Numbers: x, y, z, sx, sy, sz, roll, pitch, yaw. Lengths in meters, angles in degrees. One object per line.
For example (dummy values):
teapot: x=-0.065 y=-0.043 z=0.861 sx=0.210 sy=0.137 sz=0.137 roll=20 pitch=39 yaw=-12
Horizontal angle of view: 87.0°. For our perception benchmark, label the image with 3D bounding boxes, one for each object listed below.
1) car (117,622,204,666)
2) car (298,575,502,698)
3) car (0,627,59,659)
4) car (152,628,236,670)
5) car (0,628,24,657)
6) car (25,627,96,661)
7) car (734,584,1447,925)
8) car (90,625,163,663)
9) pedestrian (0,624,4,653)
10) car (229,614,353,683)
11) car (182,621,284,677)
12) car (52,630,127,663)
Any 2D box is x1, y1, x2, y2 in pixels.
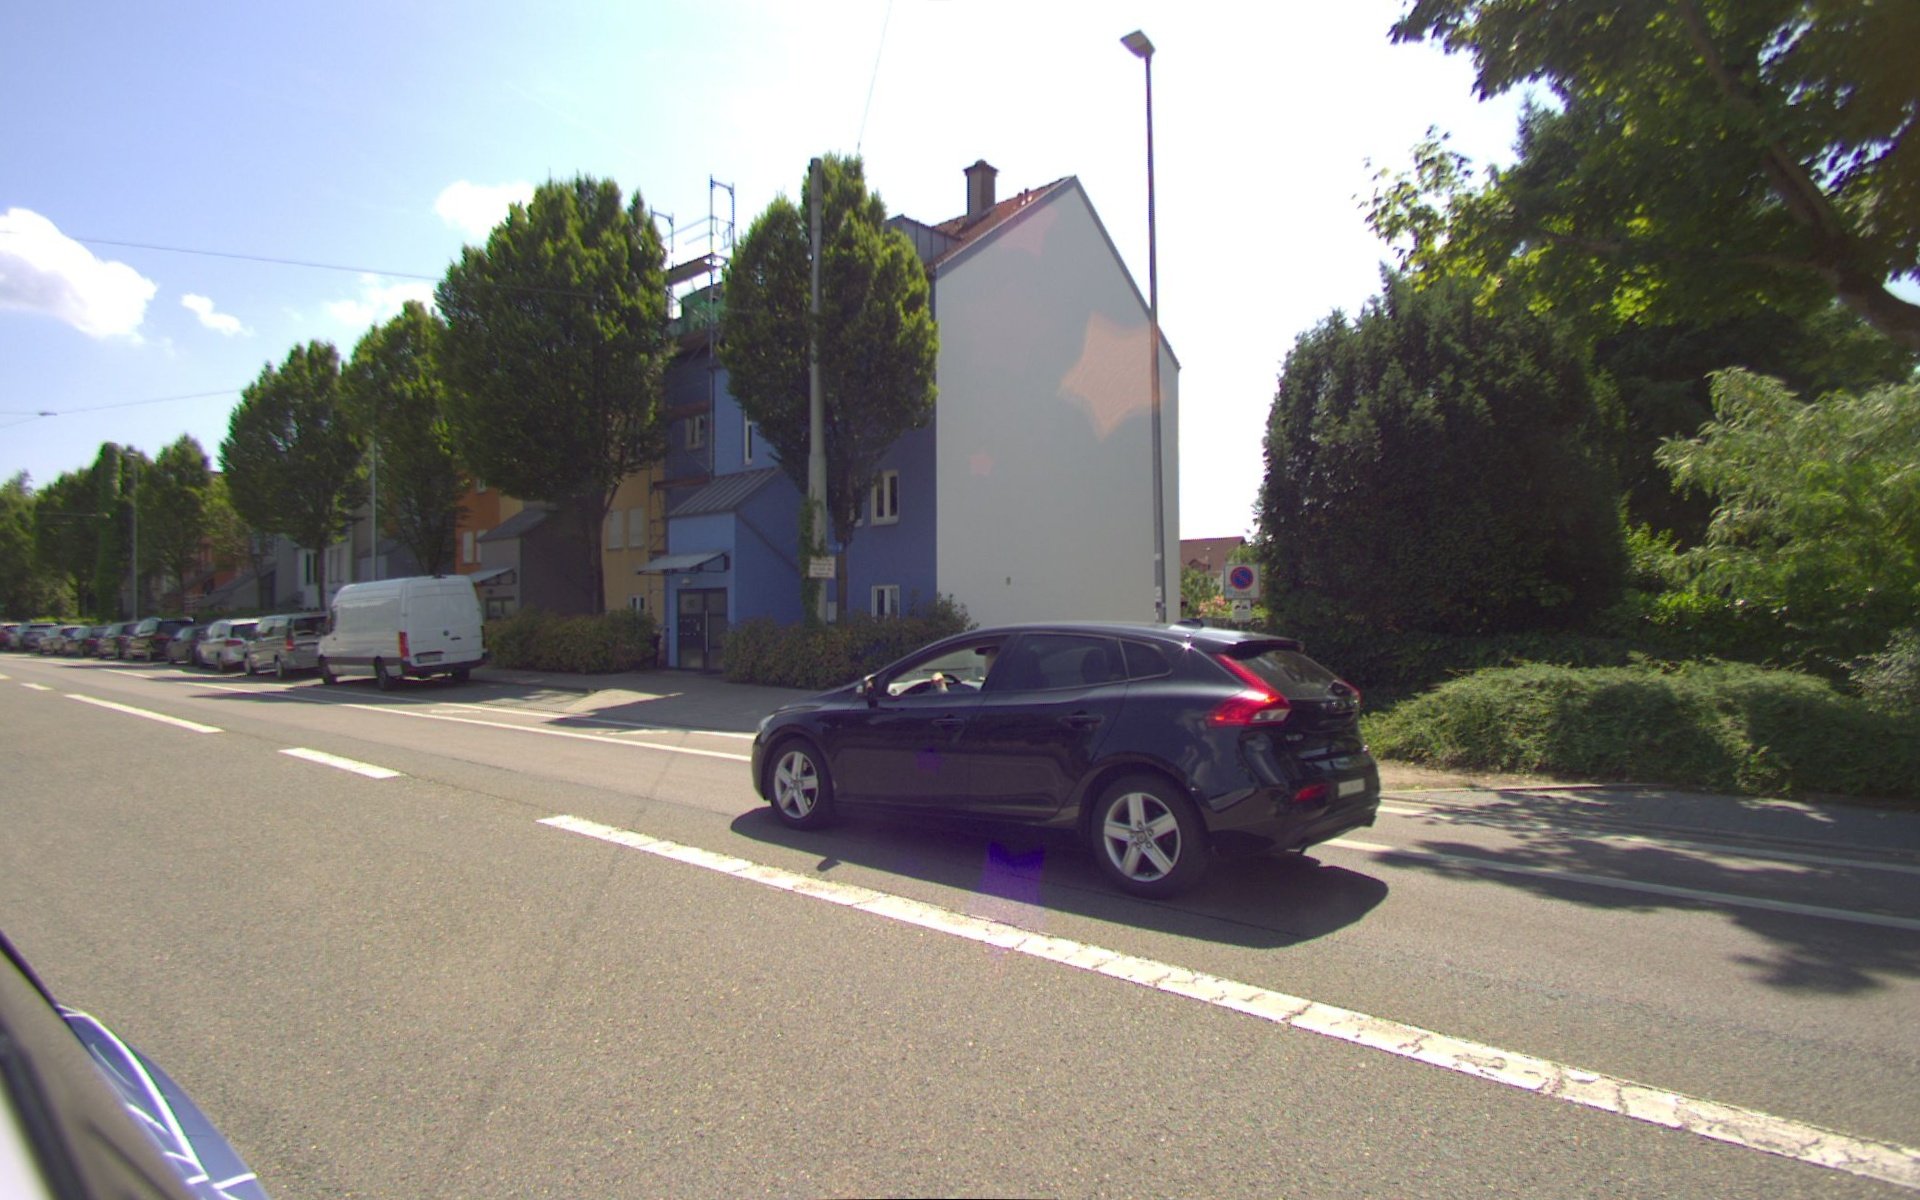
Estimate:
car: x=-32.986 y=1.788 z=41.700 sx=4.881 sy=1.729 sz=1.734 roll=-2 pitch=-2 yaw=38
car: x=-14.581 y=0.886 z=26.084 sx=7.033 sy=2.670 sz=2.299 roll=-2 pitch=2 yaw=42
car: x=-51.336 y=2.352 z=55.655 sx=4.677 sy=1.621 sz=1.641 roll=-2 pitch=0 yaw=36
car: x=-29.022 y=1.828 z=38.315 sx=4.082 sy=1.482 sz=1.583 roll=-1 pitch=-1 yaw=38
car: x=-56.196 y=2.445 z=58.848 sx=4.161 sy=1.621 sz=1.642 roll=-1 pitch=-1 yaw=33
car: x=-46.642 y=2.251 z=52.431 sx=4.885 sy=1.519 sz=1.641 roll=-1 pitch=2 yaw=35
car: x=0.592 y=0.736 z=6.405 sx=4.191 sy=1.471 sz=1.757 roll=-2 pitch=-3 yaw=40
car: x=-37.227 y=1.927 z=45.179 sx=4.279 sy=1.630 sz=1.640 roll=-1 pitch=-2 yaw=38
pedestrian: x=-64.267 y=2.593 z=67.339 sx=0.633 sy=1.937 sz=0.710 roll=0 pitch=-2 yaw=-14
car: x=-20.810 y=1.457 z=31.383 sx=5.359 sy=1.909 sz=1.788 roll=-2 pitch=1 yaw=41
car: x=-25.155 y=1.637 z=34.944 sx=4.900 sy=1.765 sz=1.699 roll=-2 pitch=-1 yaw=40
car: x=-42.075 y=2.206 z=48.867 sx=4.955 sy=1.457 sz=1.726 roll=-2 pitch=0 yaw=37
